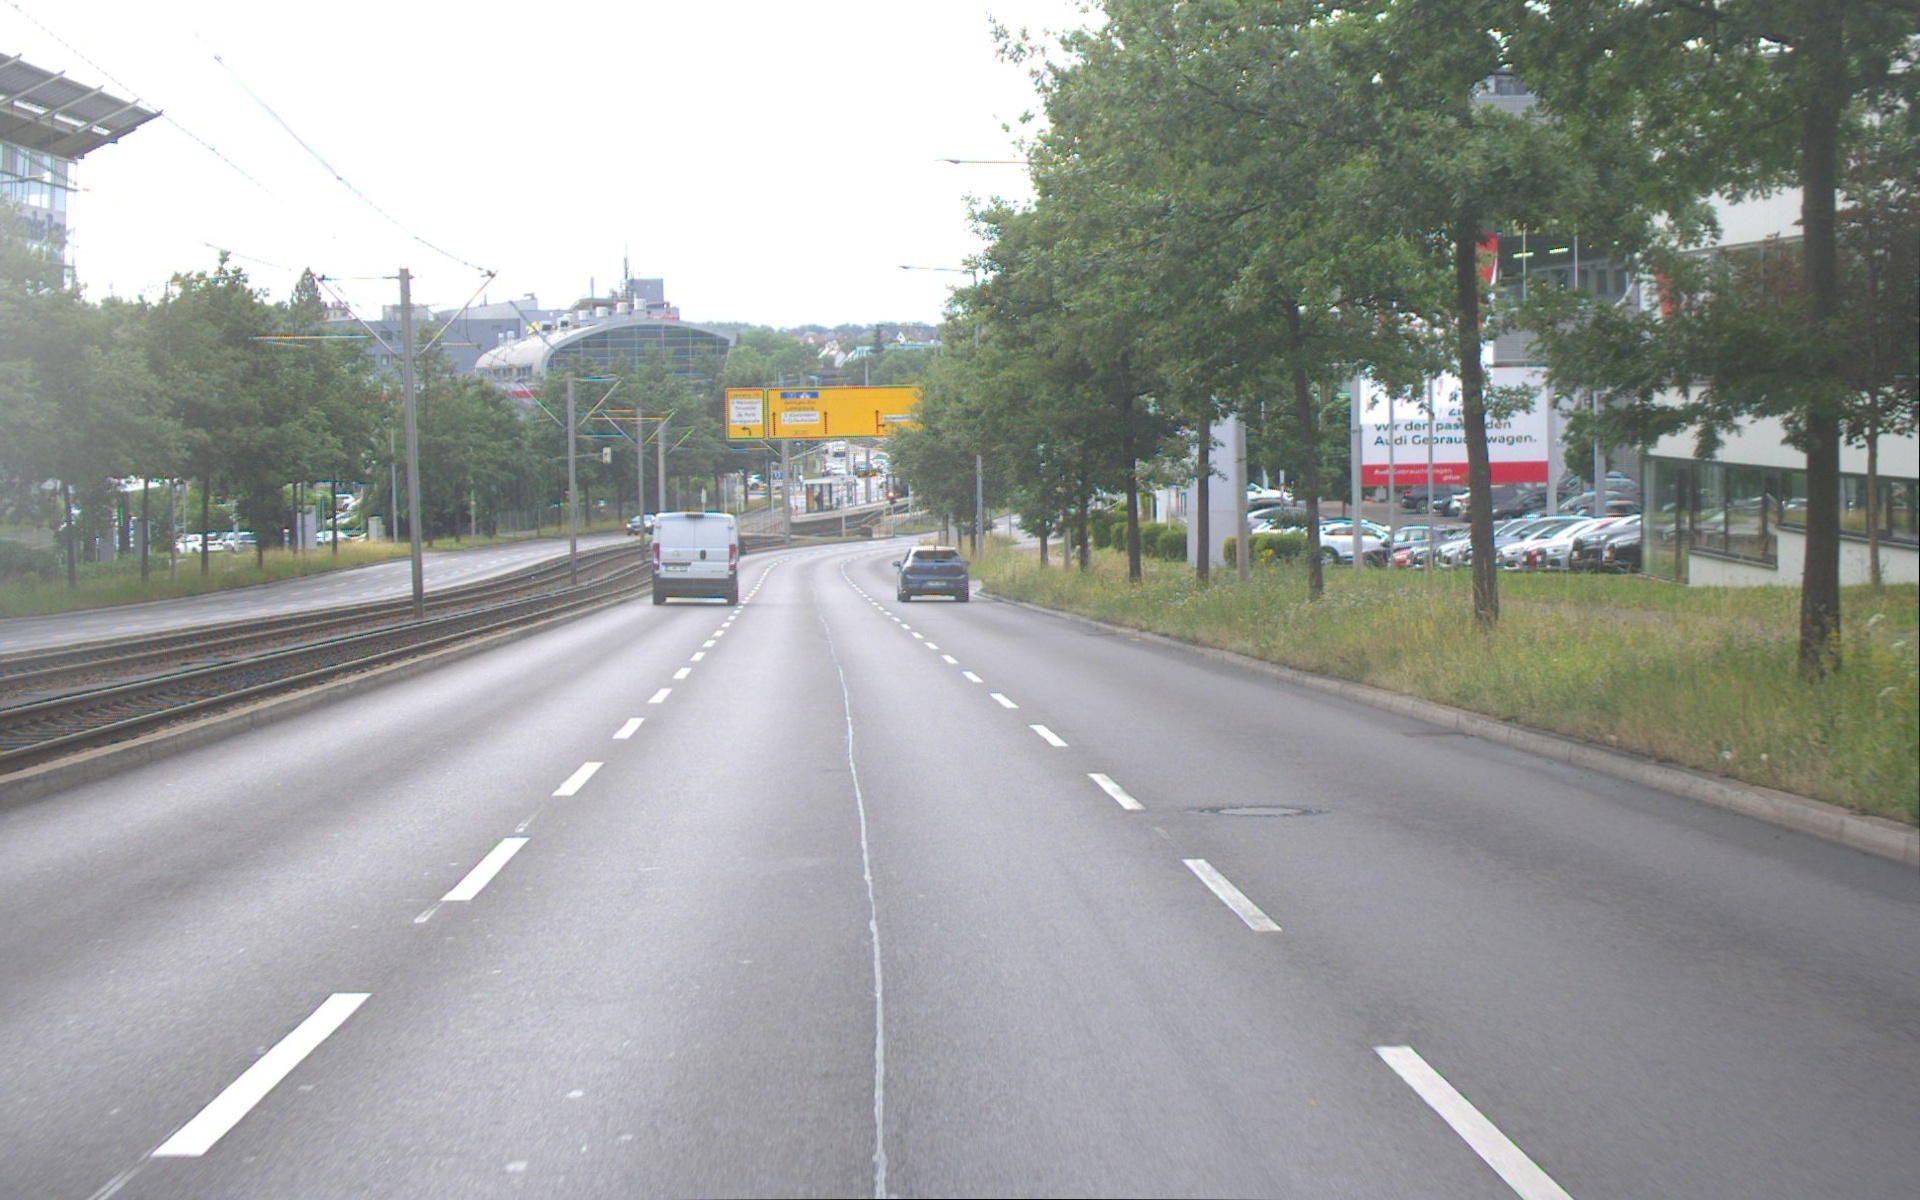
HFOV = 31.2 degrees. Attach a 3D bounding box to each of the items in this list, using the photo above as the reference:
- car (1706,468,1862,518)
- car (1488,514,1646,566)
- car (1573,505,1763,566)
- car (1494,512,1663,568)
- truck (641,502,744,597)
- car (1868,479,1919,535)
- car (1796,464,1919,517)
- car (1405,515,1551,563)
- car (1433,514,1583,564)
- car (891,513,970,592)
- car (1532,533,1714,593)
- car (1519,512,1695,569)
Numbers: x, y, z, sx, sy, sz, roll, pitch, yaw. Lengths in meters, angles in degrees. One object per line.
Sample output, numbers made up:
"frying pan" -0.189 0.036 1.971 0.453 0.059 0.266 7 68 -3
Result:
"car" 23.376 -3.025 97.643 3.987 1.349 2.000 1 1 3
"car" 16.576 -1.647 94.019 3.987 1.349 2.000 1 1 3
"car" 16.231 -1.489 78.965 3.987 1.349 2.000 1 1 3
"car" 15.701 -1.525 87.407 3.987 1.349 2.000 1 1 3
"truck" -6.552 -1.263 84.666 2.360 2.254 5.306 1 1 -3
"car" 24.582 -2.271 84.575 3.987 1.349 2.000 1 1 3
"car" 24.303 -2.879 90.759 3.987 1.349 2.000 1 1 3
"car" 15.045 -1.783 100.054 3.987 1.349 2.000 1 1 3
"car" 15.436 -1.718 96.990 3.987 1.349 2.000 1 1 3
"car" -0.772 -1.246 89.953 1.993 2.007 3.935 1 1 -1
"car" 15.800 -0.893 82.058 3.987 1.349 2.000 1 1 3
"car" 15.895 -1.468 84.643 3.987 1.349 2.000 1 1 3
